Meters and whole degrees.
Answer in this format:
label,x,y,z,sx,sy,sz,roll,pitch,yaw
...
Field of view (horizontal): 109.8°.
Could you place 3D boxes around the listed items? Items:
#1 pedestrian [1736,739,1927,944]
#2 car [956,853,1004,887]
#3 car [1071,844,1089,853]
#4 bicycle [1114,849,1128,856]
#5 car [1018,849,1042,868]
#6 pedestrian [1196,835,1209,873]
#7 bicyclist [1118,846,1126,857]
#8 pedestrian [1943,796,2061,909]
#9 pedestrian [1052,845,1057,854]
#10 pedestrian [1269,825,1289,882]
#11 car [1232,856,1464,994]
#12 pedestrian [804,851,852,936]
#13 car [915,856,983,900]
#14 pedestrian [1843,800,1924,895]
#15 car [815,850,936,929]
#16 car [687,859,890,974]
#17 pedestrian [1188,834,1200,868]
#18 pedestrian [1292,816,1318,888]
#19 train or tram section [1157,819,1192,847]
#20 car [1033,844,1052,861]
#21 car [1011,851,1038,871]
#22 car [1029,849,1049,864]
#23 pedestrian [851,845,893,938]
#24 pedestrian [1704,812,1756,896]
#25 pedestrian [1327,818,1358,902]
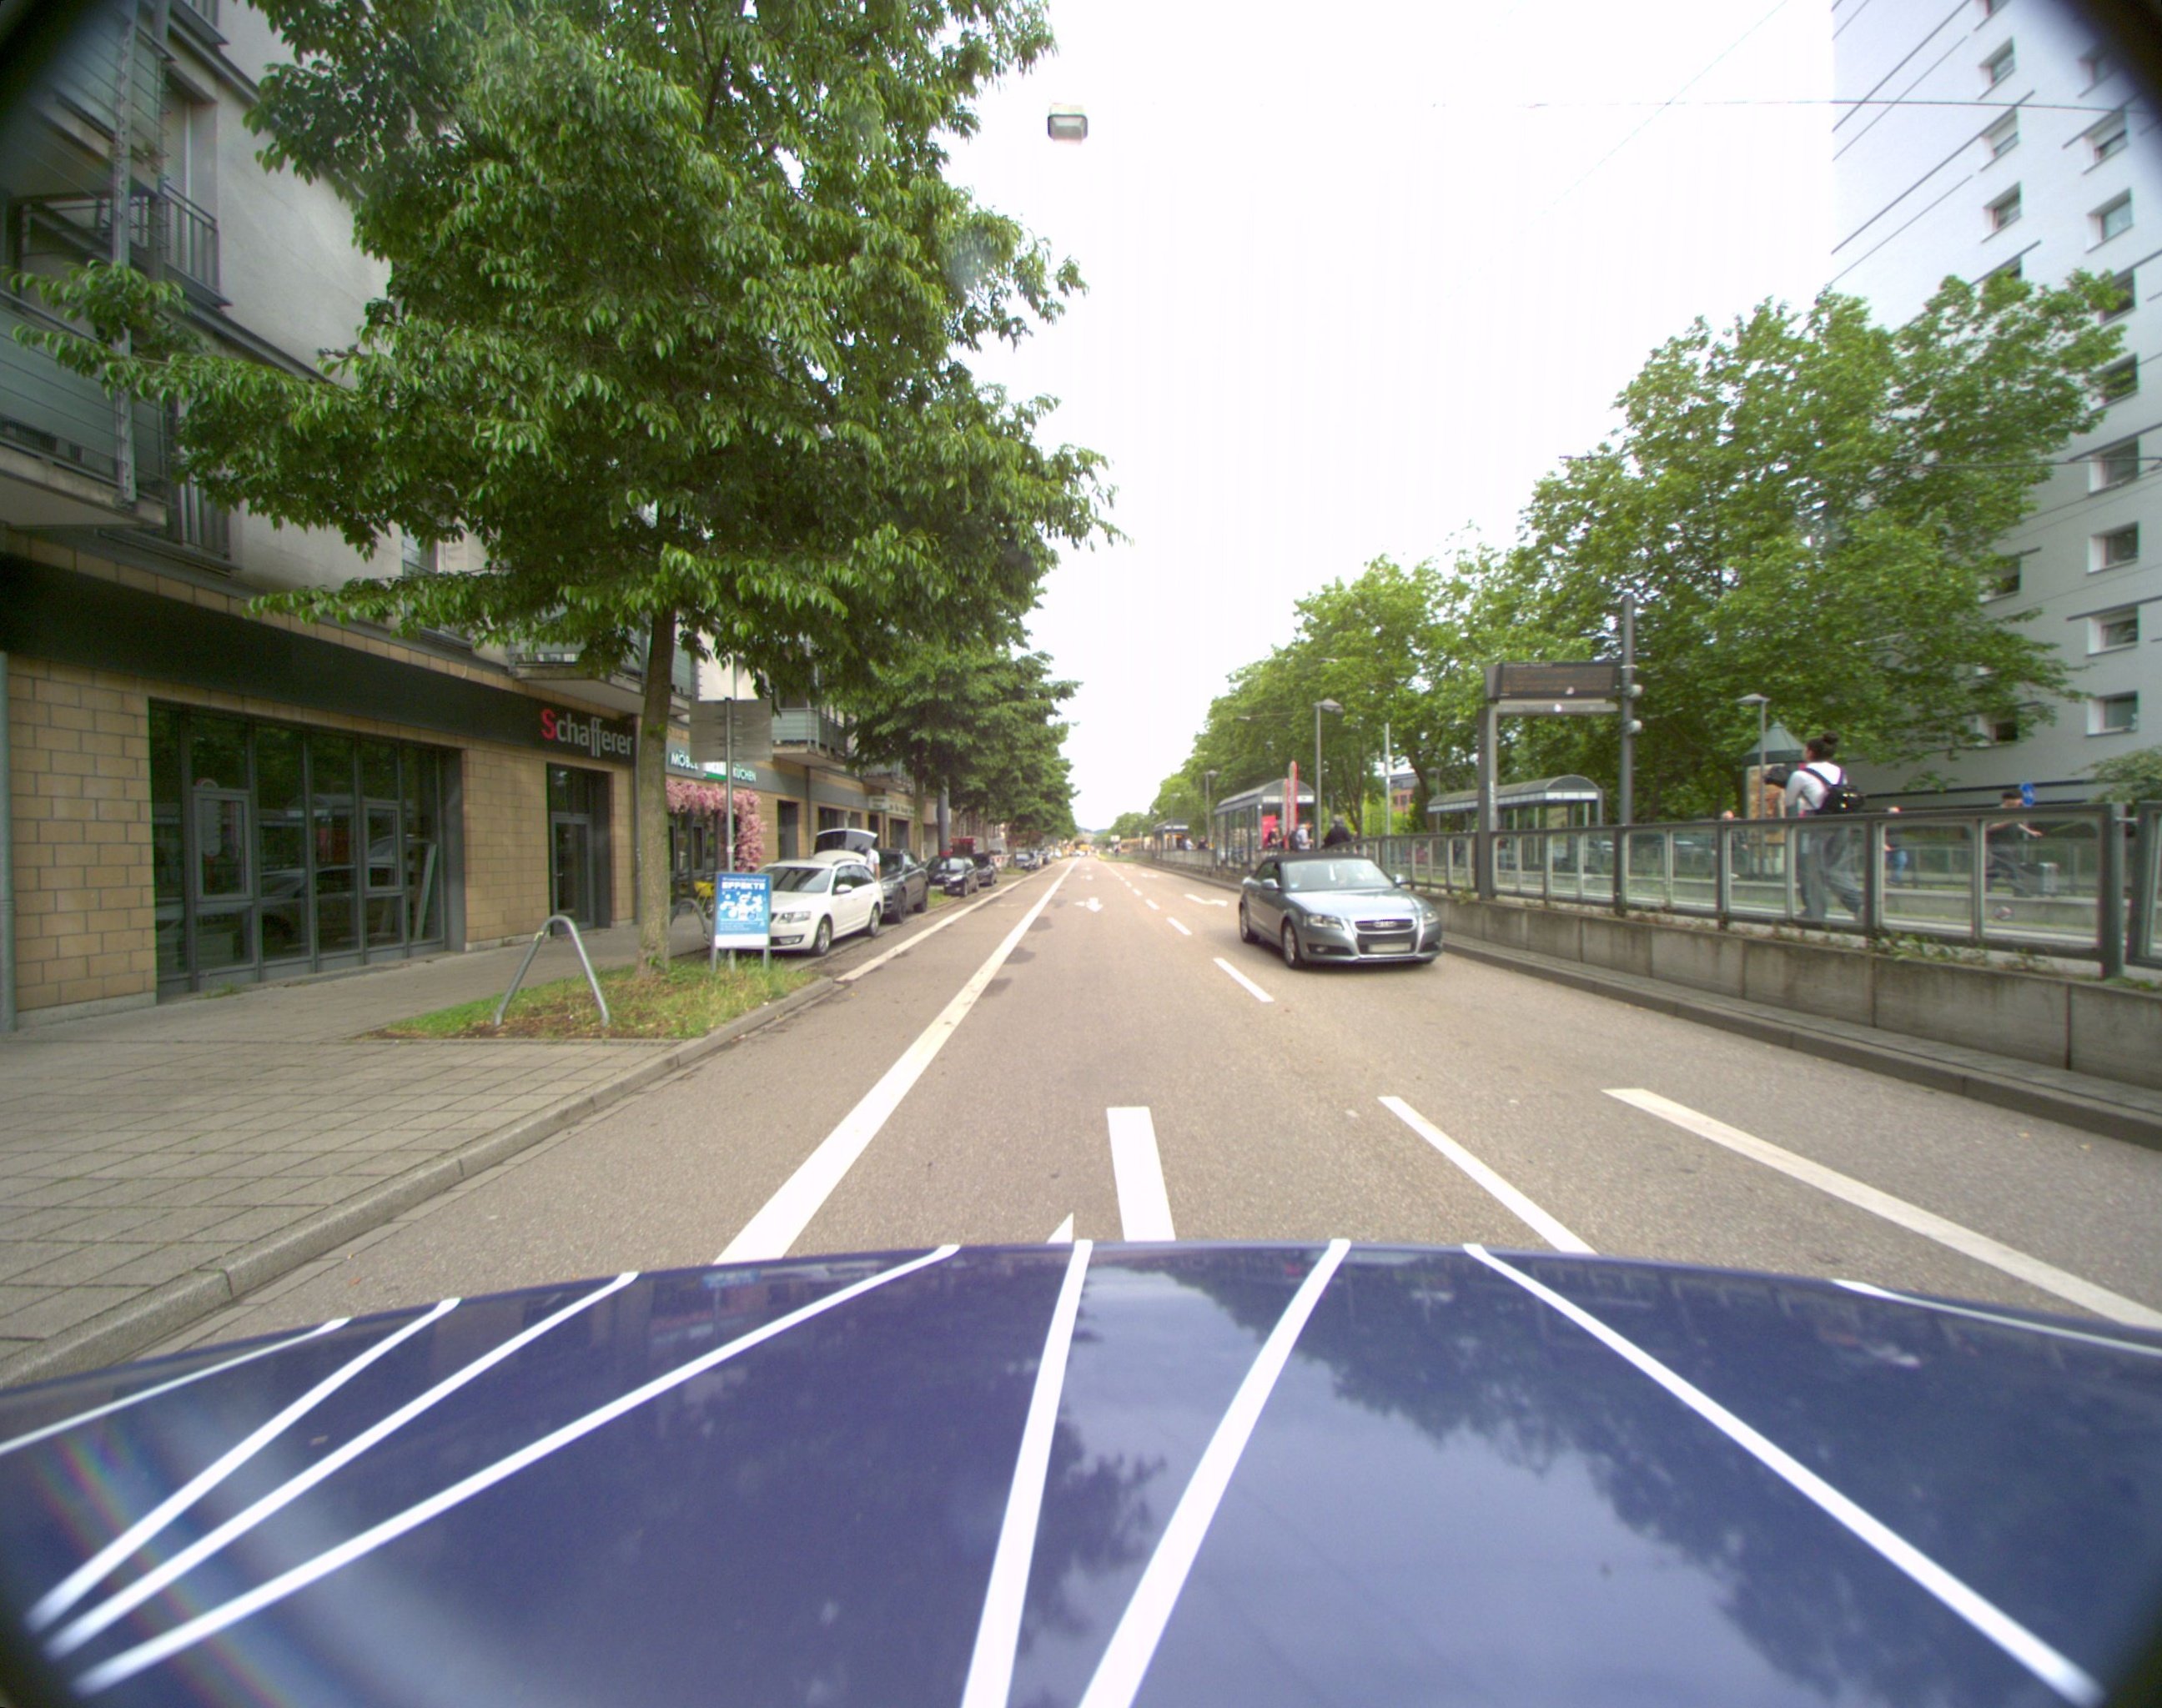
label,x,y,z,sx,sy,sz,roll,pitch,yaw
pedestrian,6.586,-0.103,6.728,0.720,1.661,0.979,-2,1,3
car,-4.560,0.685,34.746,1.612,1.393,3.667,2,1,1
car,-0.292,-1.320,180.459,2.003,2.002,4.187,-3,1,-37
bicycle,5.138,-0.186,97.654,1.779,0.925,0.491,-2,1,13
car,-4.129,0.365,62.173,1.612,1.393,3.667,2,1,1
pedestrian,5.844,0.002,36.532,0.530,1.794,0.606,-2,1,14
bicyclist,5.294,-0.352,97.592,0.811,1.458,0.727,-1,1,13
pedestrian,15.028,-0.029,12.419,0.882,1.746,0.850,-2,1,1
pedestrian,-5.871,-0.972,168.678,1.216,2.002,1.142,-1,1,1
pedestrian,6.309,-0.025,24.208,0.474,1.794,0.606,-2,1,26
car,3.321,0.783,10.325,1.716,1.379,4.099,-2,1,1
pedestrian,-5.206,0.798,15.649,0.737,1.707,0.618,1,1,8
car,-4.641,0.795,27.284,1.612,1.370,4.167,2,1,1
pedestrian,15.930,-0.133,15.106,0.882,1.823,0.666,-2,1,1
car,-4.719,0.742,18.012,1.738,1.601,3.798,2,1,1
car,-4.722,0.902,13.010,1.738,1.512,4.308,2,1,1
pedestrian,6.136,-0.176,41.349,0.530,1.794,0.606,-2,1,14
pedestrian,5.745,-0.061,19.492,0.475,1.794,0.605,-2,1,5
train or tram section,13.493,-2.915,111.171,3.338,3.731,15.201,-2,1,1
car,-3.968,-0.140,78.230,1.612,1.674,3.806,2,1,1
car,-4.169,0.480,56.233,1.612,1.393,3.667,2,1,1
car,-3.974,0.210,72.460,1.612,1.393,3.667,2,1,1
pedestrian,-4.323,0.764,15.782,0.656,1.873,0.599,-1,1,1
pedestrian,15.179,0.004,17.780,0.699,1.919,0.554,-2,1,1
pedestrian,5.703,0.122,16.589,0.521,1.794,0.605,-2,1,13
